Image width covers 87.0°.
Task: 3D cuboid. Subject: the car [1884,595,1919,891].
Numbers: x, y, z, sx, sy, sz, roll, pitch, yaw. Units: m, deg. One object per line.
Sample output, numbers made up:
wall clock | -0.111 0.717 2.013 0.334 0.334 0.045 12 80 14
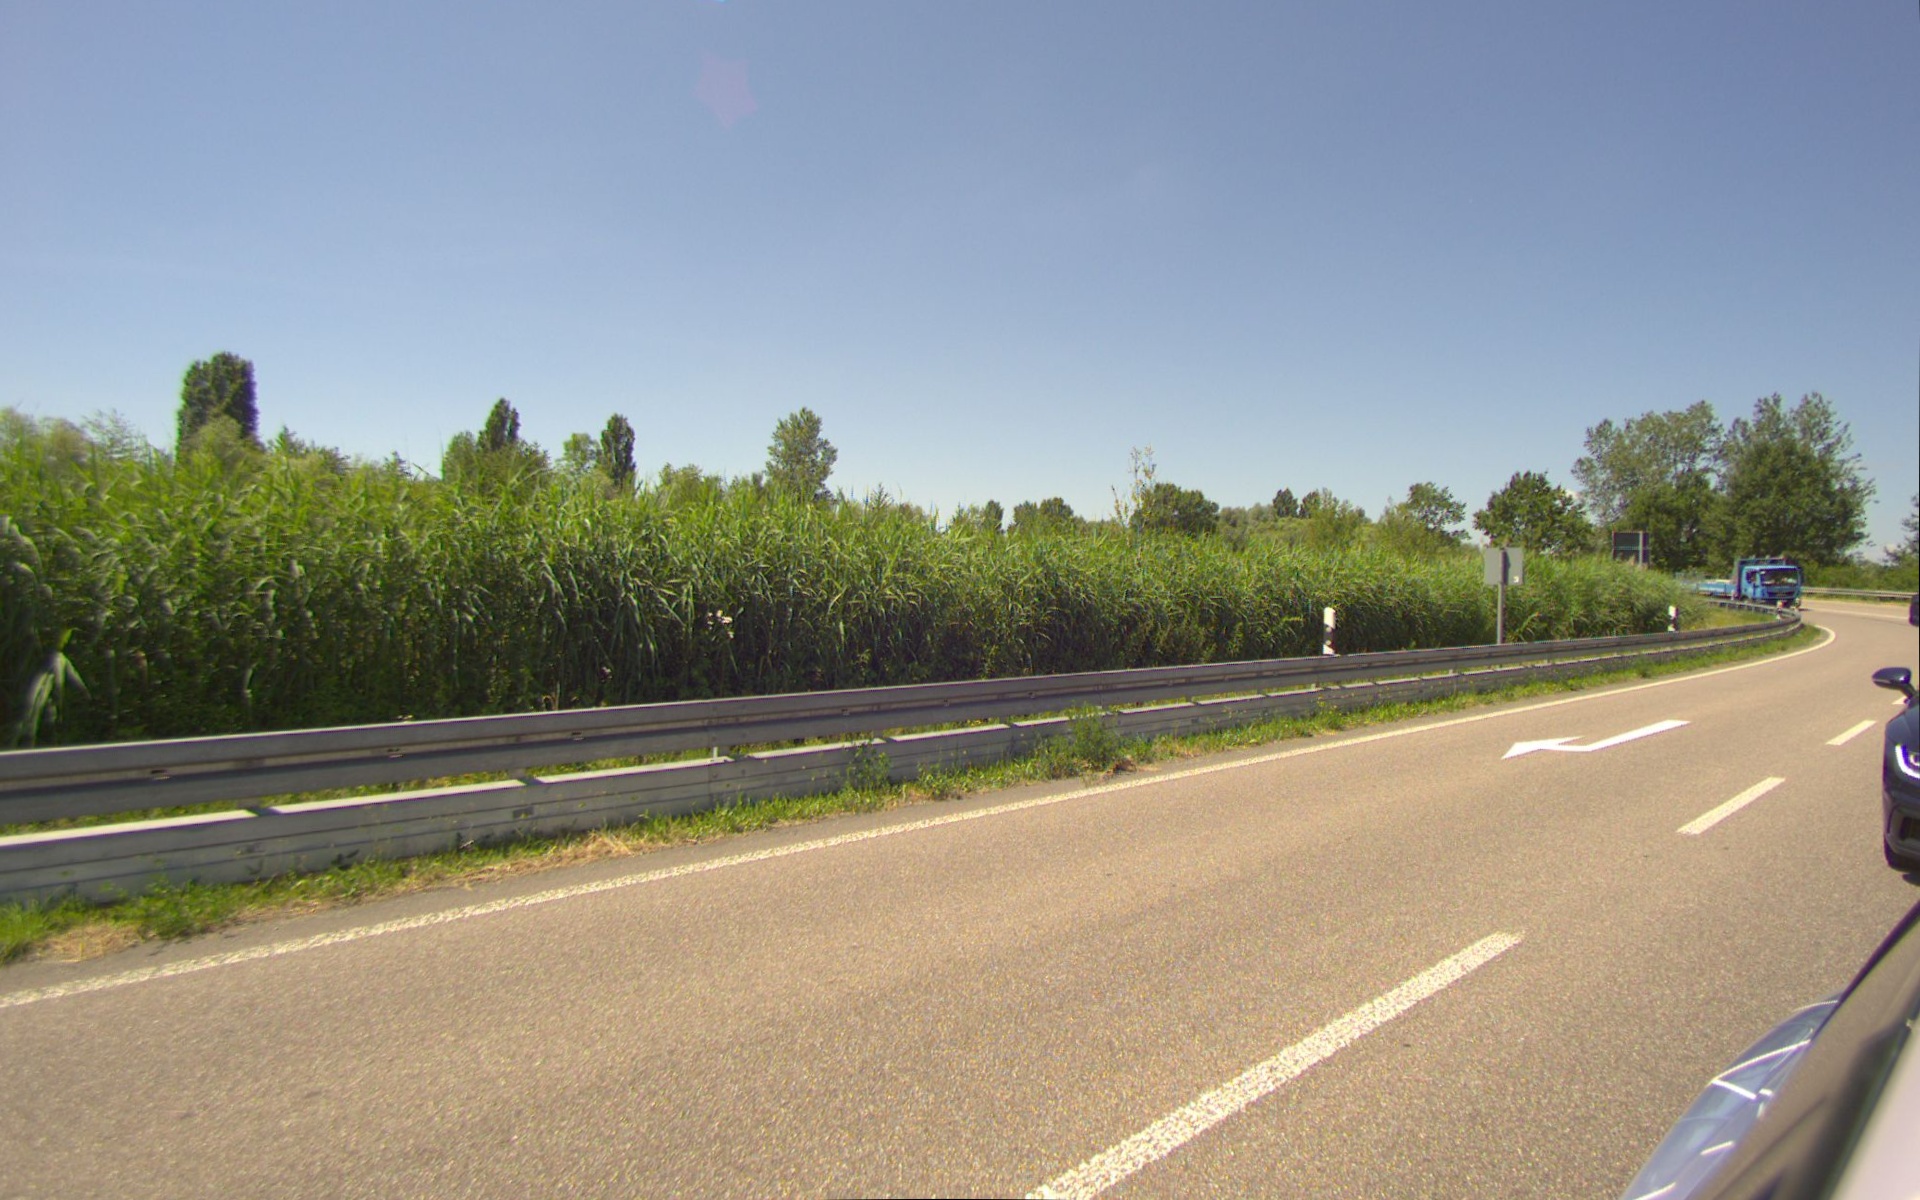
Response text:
car | 6.628 0.686 5.654 3.931 1.427 1.759 -1 1 -41

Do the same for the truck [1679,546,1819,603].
truck | 46.668 -1.448 60.268 2.536 3.108 9.055 1 1 10
